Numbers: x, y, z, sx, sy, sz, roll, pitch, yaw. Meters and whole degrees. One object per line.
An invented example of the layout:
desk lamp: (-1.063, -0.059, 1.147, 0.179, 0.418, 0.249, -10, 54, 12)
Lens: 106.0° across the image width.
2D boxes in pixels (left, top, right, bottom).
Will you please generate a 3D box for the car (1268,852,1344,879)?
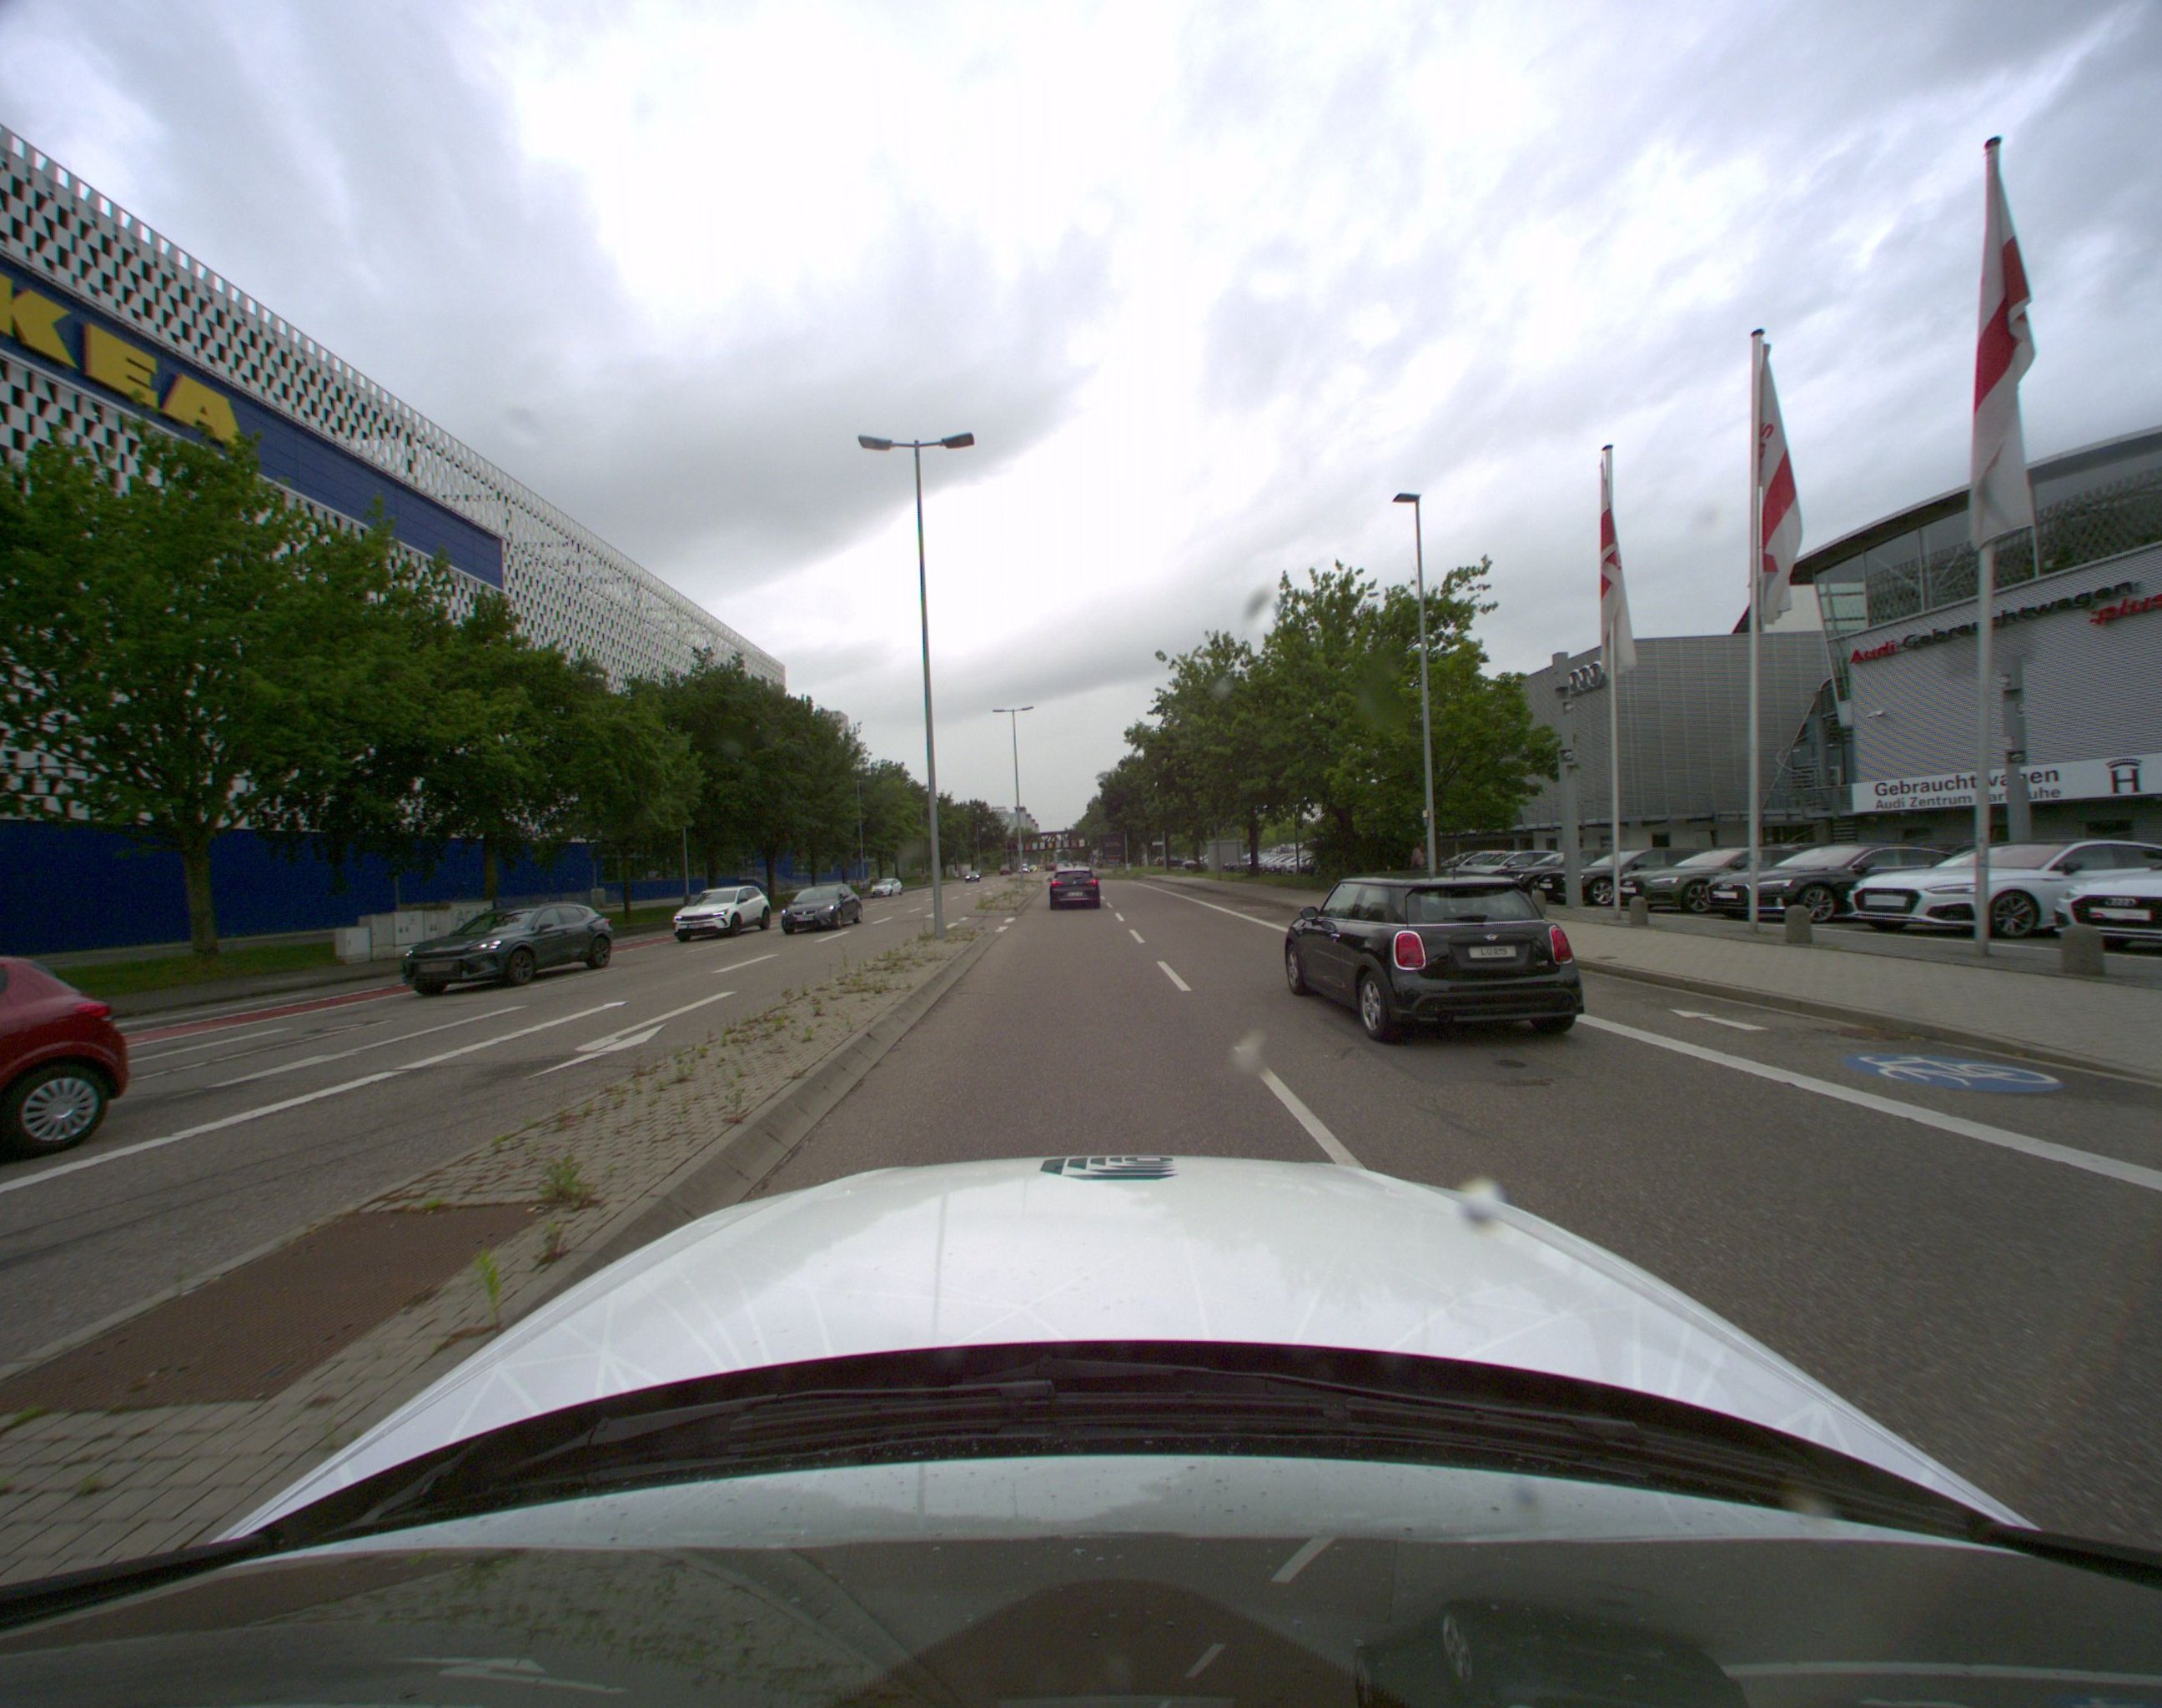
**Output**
car: (13.902, 0.691, 50.516, 4.168, 1.486, 1.977, 2, 1, 0)

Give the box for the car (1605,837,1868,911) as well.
car: (13.909, 0.414, 17.464, 4.165, 1.486, 1.907, 0, -1, -1)

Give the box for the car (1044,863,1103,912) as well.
car: (-0.194, 1.115, 28.452, 1.750, 1.434, 4.003, -3, 0, 2)

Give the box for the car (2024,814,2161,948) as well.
car: (14.020, 0.298, 9.396, 4.171, 1.486, 1.852, 0, -1, 0)

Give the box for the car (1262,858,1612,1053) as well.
car: (3.222, 0.803, 8.244, 1.781, 1.415, 3.640, -4, 0, -2)

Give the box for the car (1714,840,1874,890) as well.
car: (24.918, 0.342, 28.562, 4.090, 1.544, 1.815, -2, 1, -1)

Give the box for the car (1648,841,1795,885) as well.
car: (24.530, 0.322, 31.263, 4.326, 1.486, 1.740, -2, 1, -2)

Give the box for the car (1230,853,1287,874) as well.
car: (14.348, 0.767, 65.966, 4.161, 1.446, 1.960, 3, 1, 0)

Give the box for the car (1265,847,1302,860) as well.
car: (25.093, -0.039, 100.838, 4.075, 1.435, 1.729, -2, 1, -2)

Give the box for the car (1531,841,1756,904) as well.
car: (13.930, 0.445, 20.342, 4.353, 1.470, 1.894, 0, -1, -1)

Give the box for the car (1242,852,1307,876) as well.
car: (14.432, 0.749, 60.982, 4.379, 1.520, 2.000, 3, 1, 0)

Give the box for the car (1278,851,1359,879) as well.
car: (13.952, 0.632, 47.955, 4.184, 1.486, 1.958, 2, 1, -2)

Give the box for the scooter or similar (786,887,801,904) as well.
scooter or similar: (-21.456, 3.109, 60.800, 0.653, 1.196, 1.376, -2, 0, -3)

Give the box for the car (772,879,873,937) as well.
car: (-8.330, 1.681, 26.650, 1.851, 1.462, 4.330, -5, 0, -1)

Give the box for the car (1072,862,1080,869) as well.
car: (-1.411, 3.087, 215.998, 1.943, 1.815, 4.002, -2, 1, 2)

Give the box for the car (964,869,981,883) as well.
car: (-13.870, 2.829, 104.215, 1.916, 1.502, 4.242, -5, -1, -6)

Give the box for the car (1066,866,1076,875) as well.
car: (-2.292, 3.762, 186.029, 1.943, 1.815, 4.002, -2, 1, 2)

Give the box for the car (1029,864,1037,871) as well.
car: (-12.008, 3.358, 203.649, 1.748, 1.446, 3.341, -2, 1, 2)

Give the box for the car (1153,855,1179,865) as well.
car: (13.478, 0.981, 129.509, 3.967, 1.435, 1.733, -2, 1, 5)

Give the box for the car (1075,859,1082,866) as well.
car: (-0.718, 2.646, 249.149, 1.943, 1.815, 4.002, -2, 1, 2)

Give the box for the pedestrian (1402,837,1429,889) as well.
pedestrian: (12.256, 0.315, 29.838, 0.669, 1.871, 0.719, -1, -1, -1)

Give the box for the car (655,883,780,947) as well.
car: (-11.937, 1.940, 27.158, 1.988, 1.594, 4.575, -6, 0, -1)

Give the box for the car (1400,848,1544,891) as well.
car: (13.653, 0.517, 28.624, 4.192, 1.421, 1.855, -1, 0, -1)

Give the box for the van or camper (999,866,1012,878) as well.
van or camper: (-13.766, 3.243, 148.139, 1.870, 1.986, 4.887, -4, 0, -1)

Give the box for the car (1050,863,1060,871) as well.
car: (-6.186, 3.049, 195.283, 1.943, 1.815, 4.002, -2, 1, 2)

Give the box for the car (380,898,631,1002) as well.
car: (-11.357, 1.806, 16.580, 1.876, 1.544, 4.594, -5, -1, -2)

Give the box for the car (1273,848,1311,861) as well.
car: (25.159, 0.039, 97.134, 4.075, 1.435, 1.729, -2, 1, -2)

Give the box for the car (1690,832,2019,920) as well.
car: (13.815, 0.375, 14.745, 4.205, 1.486, 1.871, 0, -1, 0)

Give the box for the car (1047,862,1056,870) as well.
car: (-6.783, 2.720, 188.584, 1.877, 1.661, 3.784, -2, 1, 2)

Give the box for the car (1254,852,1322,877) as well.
car: (14.115, 0.707, 55.805, 4.161, 1.456, 1.934, 2, 1, 0)

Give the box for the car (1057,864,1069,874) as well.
car: (-3.467, 2.869, 157.318, 2.127, 1.661, 3.784, -2, 1, 2)

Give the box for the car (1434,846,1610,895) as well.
car: (13.880, 0.510, 25.797, 4.636, 1.472, 1.847, 0, 0, -2)

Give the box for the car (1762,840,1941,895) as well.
car: (24.568, 0.408, 26.066, 4.090, 1.544, 1.815, -2, 1, -1)

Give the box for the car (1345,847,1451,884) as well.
car: (14.482, 0.490, 37.351, 4.111, 1.393, 1.870, 3, 1, -2)

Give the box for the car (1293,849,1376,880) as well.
car: (14.070, 0.580, 45.353, 4.052, 1.486, 1.818, 2, 1, -2)

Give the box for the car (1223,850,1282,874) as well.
car: (14.415, 0.639, 68.569, 4.534, 1.702, 2.000, 3, 1, 0)

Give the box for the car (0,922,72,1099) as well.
car: (-11.177, 1.565, 6.063, 1.876, 1.637, 4.329, -6, -1, -2)

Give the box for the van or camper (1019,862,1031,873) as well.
van or camper: (-10.638, 2.578, 154.257, 1.750, 1.747, 4.405, -6, 0, 0)

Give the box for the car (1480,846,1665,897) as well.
car: (13.829, 0.489, 23.102, 4.142, 1.391, 1.902, 0, -1, -1)

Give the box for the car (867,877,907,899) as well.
car: (-15.690, 2.710, 66.171, 1.849, 1.462, 4.336, -5, 0, 3)

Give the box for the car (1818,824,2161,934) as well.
car: (13.727, 0.344, 12.031, 4.018, 1.486, 1.876, 0, -1, -1)

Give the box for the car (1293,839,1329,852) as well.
car: (29.863, -1.118, 105.807, 4.188, 1.435, 1.729, -2, 1, -2)

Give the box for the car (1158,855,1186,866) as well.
car: (13.127, 0.978, 117.473, 3.967, 1.435, 1.733, -2, 1, 5)

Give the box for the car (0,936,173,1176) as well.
car: (-7.926, 1.386, 4.282, 1.730, 1.487, 4.075, -4, -2, -2)
